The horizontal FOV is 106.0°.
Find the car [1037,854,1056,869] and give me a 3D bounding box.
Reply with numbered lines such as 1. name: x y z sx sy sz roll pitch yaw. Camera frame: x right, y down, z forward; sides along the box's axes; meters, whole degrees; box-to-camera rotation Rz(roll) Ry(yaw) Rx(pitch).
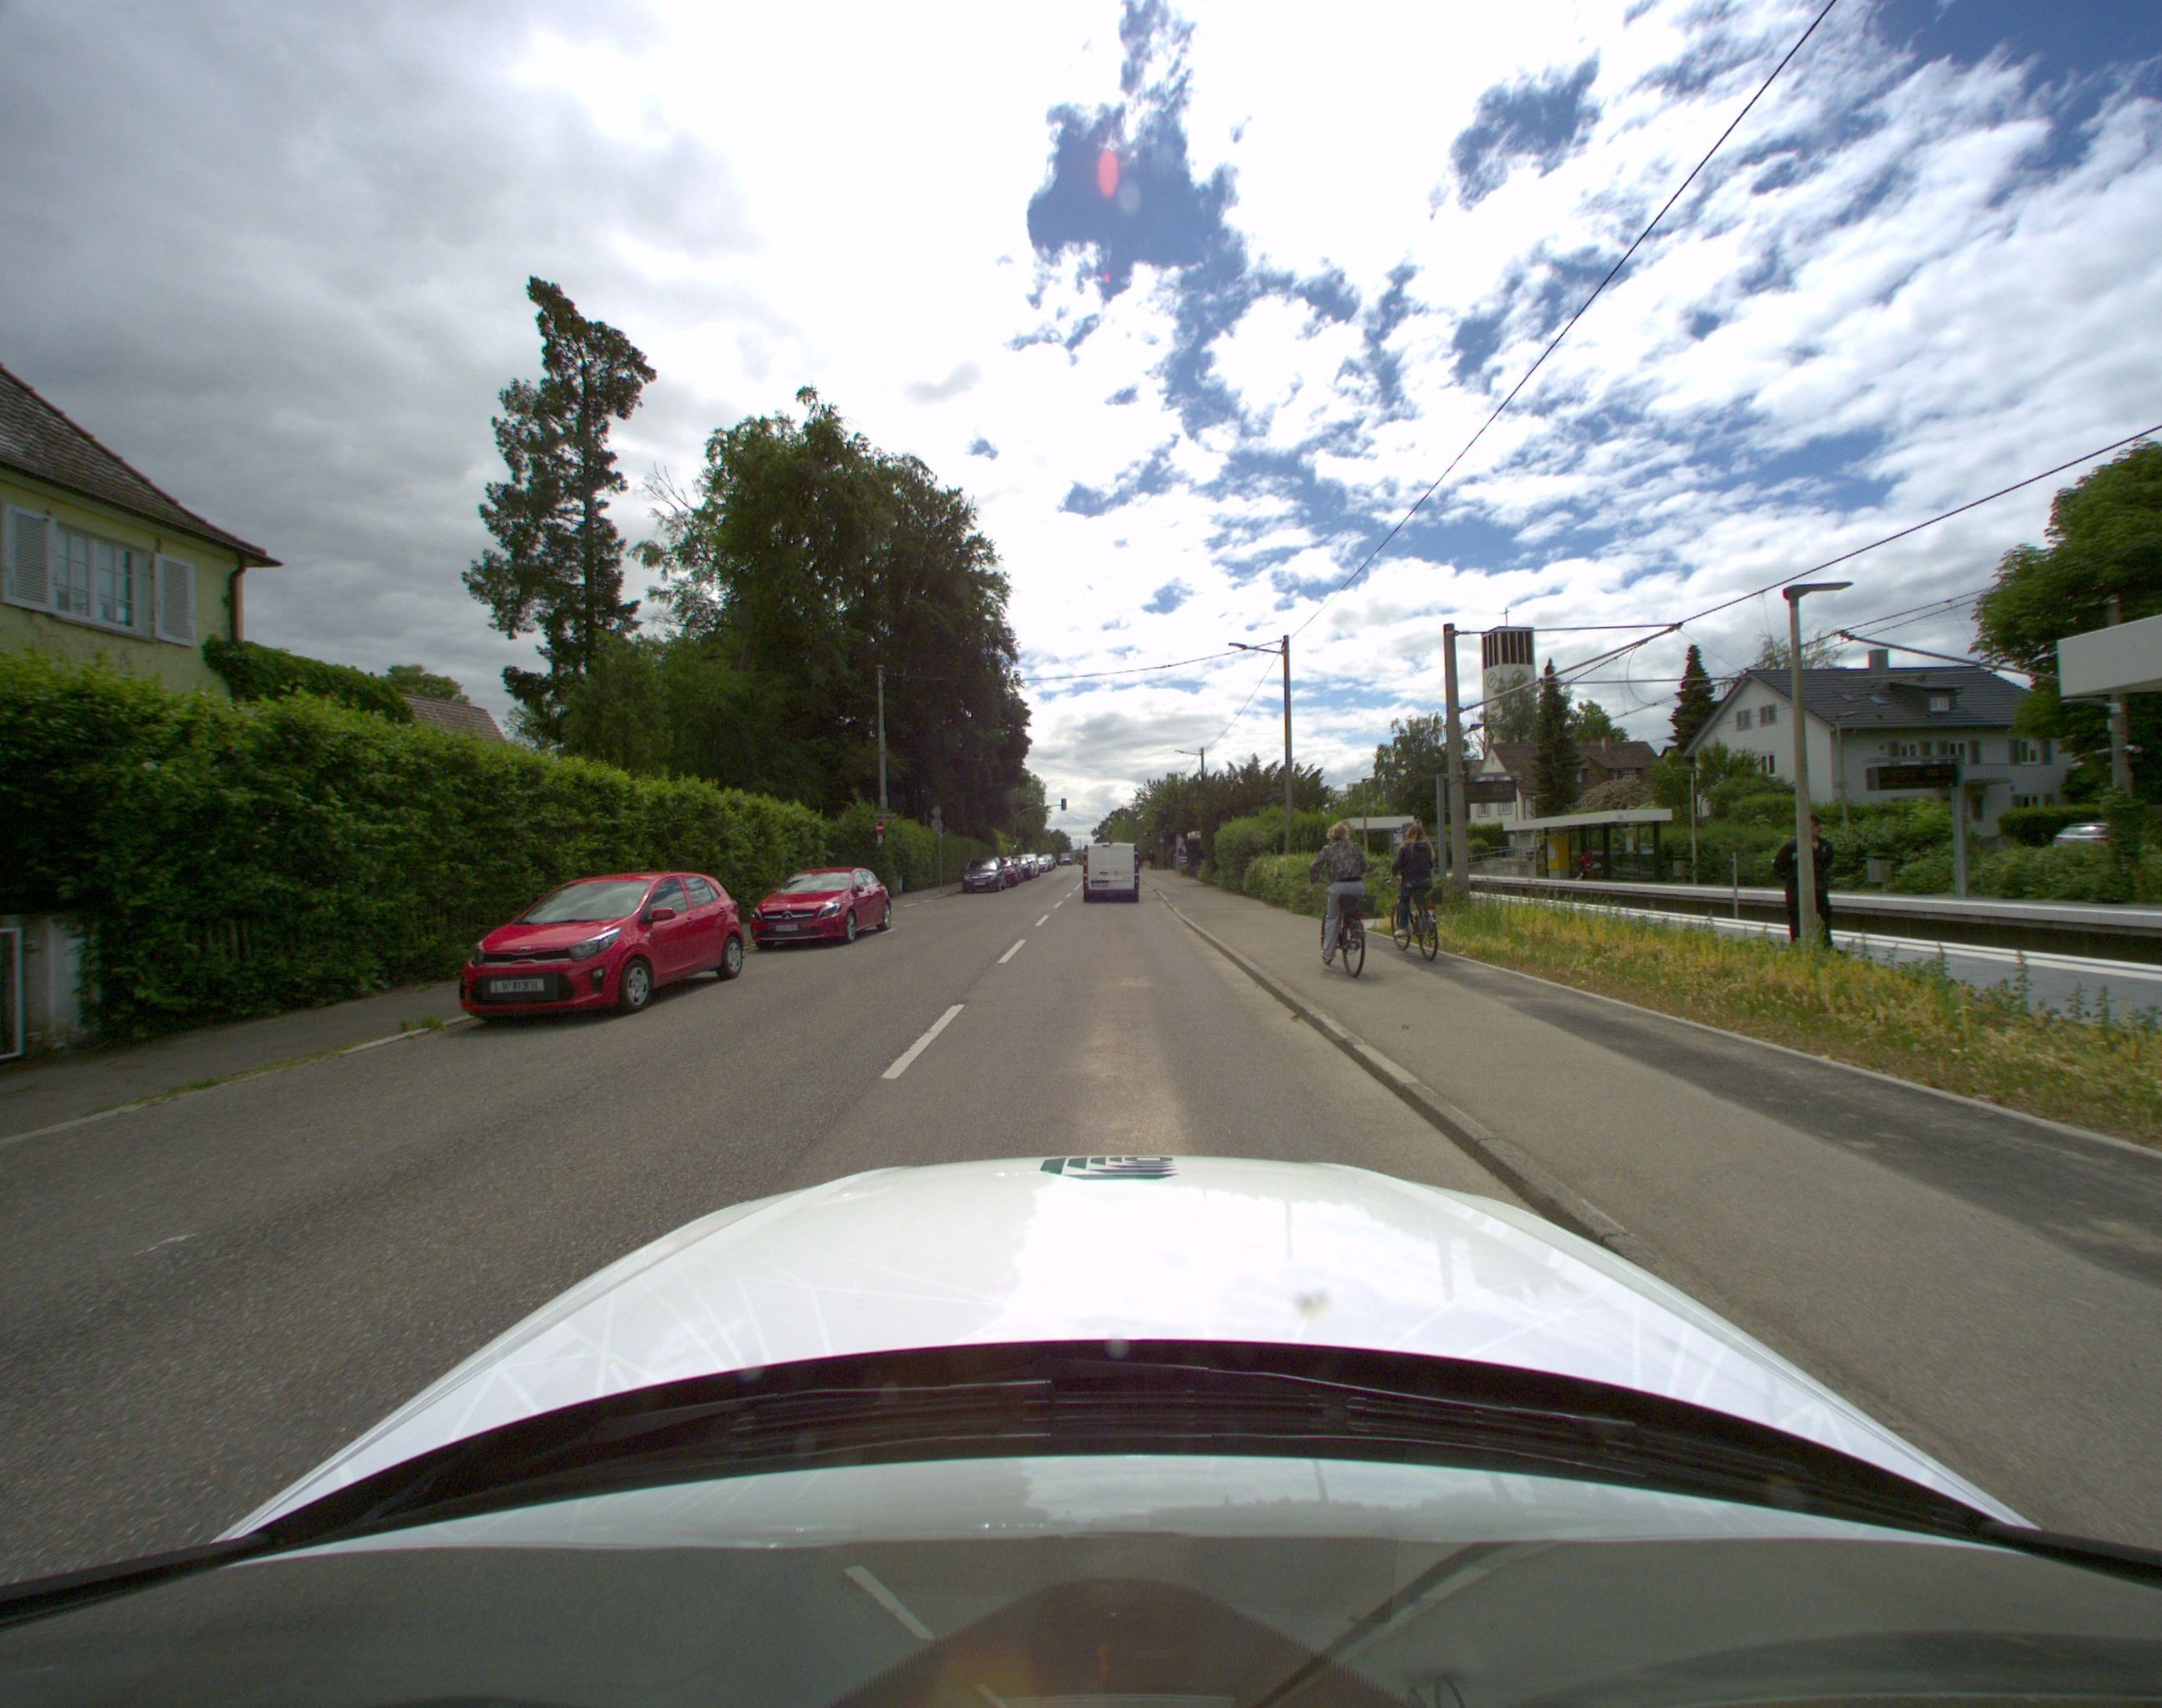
1. car: -3.773 0.805 89.306 1.773 1.669 4.002 -1 0 2

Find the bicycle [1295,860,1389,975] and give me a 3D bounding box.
1. bicycle: 3.178 0.715 10.108 0.544 1.246 2.056 -1 0 2

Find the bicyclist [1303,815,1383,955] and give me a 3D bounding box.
1. bicyclist: 3.125 0.354 9.774 0.715 1.612 0.758 -1 0 1

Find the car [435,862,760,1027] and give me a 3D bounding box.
1. car: -5.414 0.898 9.701 1.582 1.505 3.517 -3 0 3

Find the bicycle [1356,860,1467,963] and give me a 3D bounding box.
1. bicycle: 4.506 0.721 11.305 0.616 1.246 2.396 -1 0 2

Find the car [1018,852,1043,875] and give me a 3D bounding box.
1. car: -4.105 0.726 66.683 1.756 1.756 3.815 -2 0 1

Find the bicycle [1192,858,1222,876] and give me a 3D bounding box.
1. bicycle: 7.475 0.766 48.168 1.693 1.030 0.491 -1 0 0

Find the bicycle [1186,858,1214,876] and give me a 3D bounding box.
1. bicycle: 7.287 0.802 49.883 1.693 1.030 0.491 -1 0 0

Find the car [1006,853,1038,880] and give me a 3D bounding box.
1. car: -3.913 0.813 54.481 1.756 1.656 3.815 -2 0 1

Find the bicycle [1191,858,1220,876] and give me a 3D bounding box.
1. bicycle: 7.541 0.797 49.306 1.693 1.030 0.491 -1 0 0

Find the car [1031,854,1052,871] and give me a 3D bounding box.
1. car: -3.890 0.819 80.254 1.756 1.557 3.815 -2 0 1

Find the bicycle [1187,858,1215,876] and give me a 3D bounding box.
1. bicycle: 7.435 0.801 50.409 1.693 1.030 0.491 -1 0 0

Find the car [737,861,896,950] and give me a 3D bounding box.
1. car: -5.139 0.921 16.478 1.756 1.471 4.186 -2 0 1

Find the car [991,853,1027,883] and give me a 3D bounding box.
1. car: -4.301 0.827 48.993 1.756 1.656 3.815 -2 0 1

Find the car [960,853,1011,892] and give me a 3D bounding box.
1. car: -4.385 0.819 37.985 1.756 1.625 4.186 -2 0 1

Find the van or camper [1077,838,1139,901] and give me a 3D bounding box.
1. van or camper: 0.952 0.515 28.405 1.986 2.014 4.448 0 -1 2

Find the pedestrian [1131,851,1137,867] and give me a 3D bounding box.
1. pedestrian: 5.943 0.547 91.191 0.700 1.851 0.666 -1 0 2

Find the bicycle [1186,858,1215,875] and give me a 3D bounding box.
1. bicycle: 7.470 0.809 50.954 1.693 1.030 0.491 -1 0 0

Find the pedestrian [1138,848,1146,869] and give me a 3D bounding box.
1. pedestrian: 5.326 0.411 71.257 0.676 1.841 0.647 -1 0 8

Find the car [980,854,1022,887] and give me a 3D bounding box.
1. car: -4.234 0.846 43.646 1.756 1.656 4.061 -2 0 1

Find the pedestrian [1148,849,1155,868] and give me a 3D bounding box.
1. pedestrian: 6.439 0.401 74.282 0.670 1.696 0.523 -1 0 6

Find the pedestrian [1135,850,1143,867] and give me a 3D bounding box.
1. pedestrian: 5.997 0.474 83.834 0.649 1.806 0.564 -1 0 -10

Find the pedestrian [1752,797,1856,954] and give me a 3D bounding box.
1. pedestrian: 8.269 0.235 9.340 0.633 1.725 0.657 -1 0 10

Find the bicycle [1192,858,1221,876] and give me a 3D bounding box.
1. bicycle: 7.503 0.789 48.743 1.693 1.030 0.491 -1 0 0

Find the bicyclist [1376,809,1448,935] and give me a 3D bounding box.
1. bicyclist: 4.494 0.236 11.102 0.637 1.650 0.819 -1 0 1

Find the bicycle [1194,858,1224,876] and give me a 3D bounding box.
1. bicycle: 7.467 0.770 47.612 1.693 1.030 0.491 -1 0 0

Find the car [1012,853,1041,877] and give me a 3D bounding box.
1. car: -3.950 0.773 59.709 1.756 1.656 3.815 -2 0 1

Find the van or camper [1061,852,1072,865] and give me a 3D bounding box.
1. van or camper: -2.633 0.791 150.266 1.998 2.261 4.610 -2 0 -1
